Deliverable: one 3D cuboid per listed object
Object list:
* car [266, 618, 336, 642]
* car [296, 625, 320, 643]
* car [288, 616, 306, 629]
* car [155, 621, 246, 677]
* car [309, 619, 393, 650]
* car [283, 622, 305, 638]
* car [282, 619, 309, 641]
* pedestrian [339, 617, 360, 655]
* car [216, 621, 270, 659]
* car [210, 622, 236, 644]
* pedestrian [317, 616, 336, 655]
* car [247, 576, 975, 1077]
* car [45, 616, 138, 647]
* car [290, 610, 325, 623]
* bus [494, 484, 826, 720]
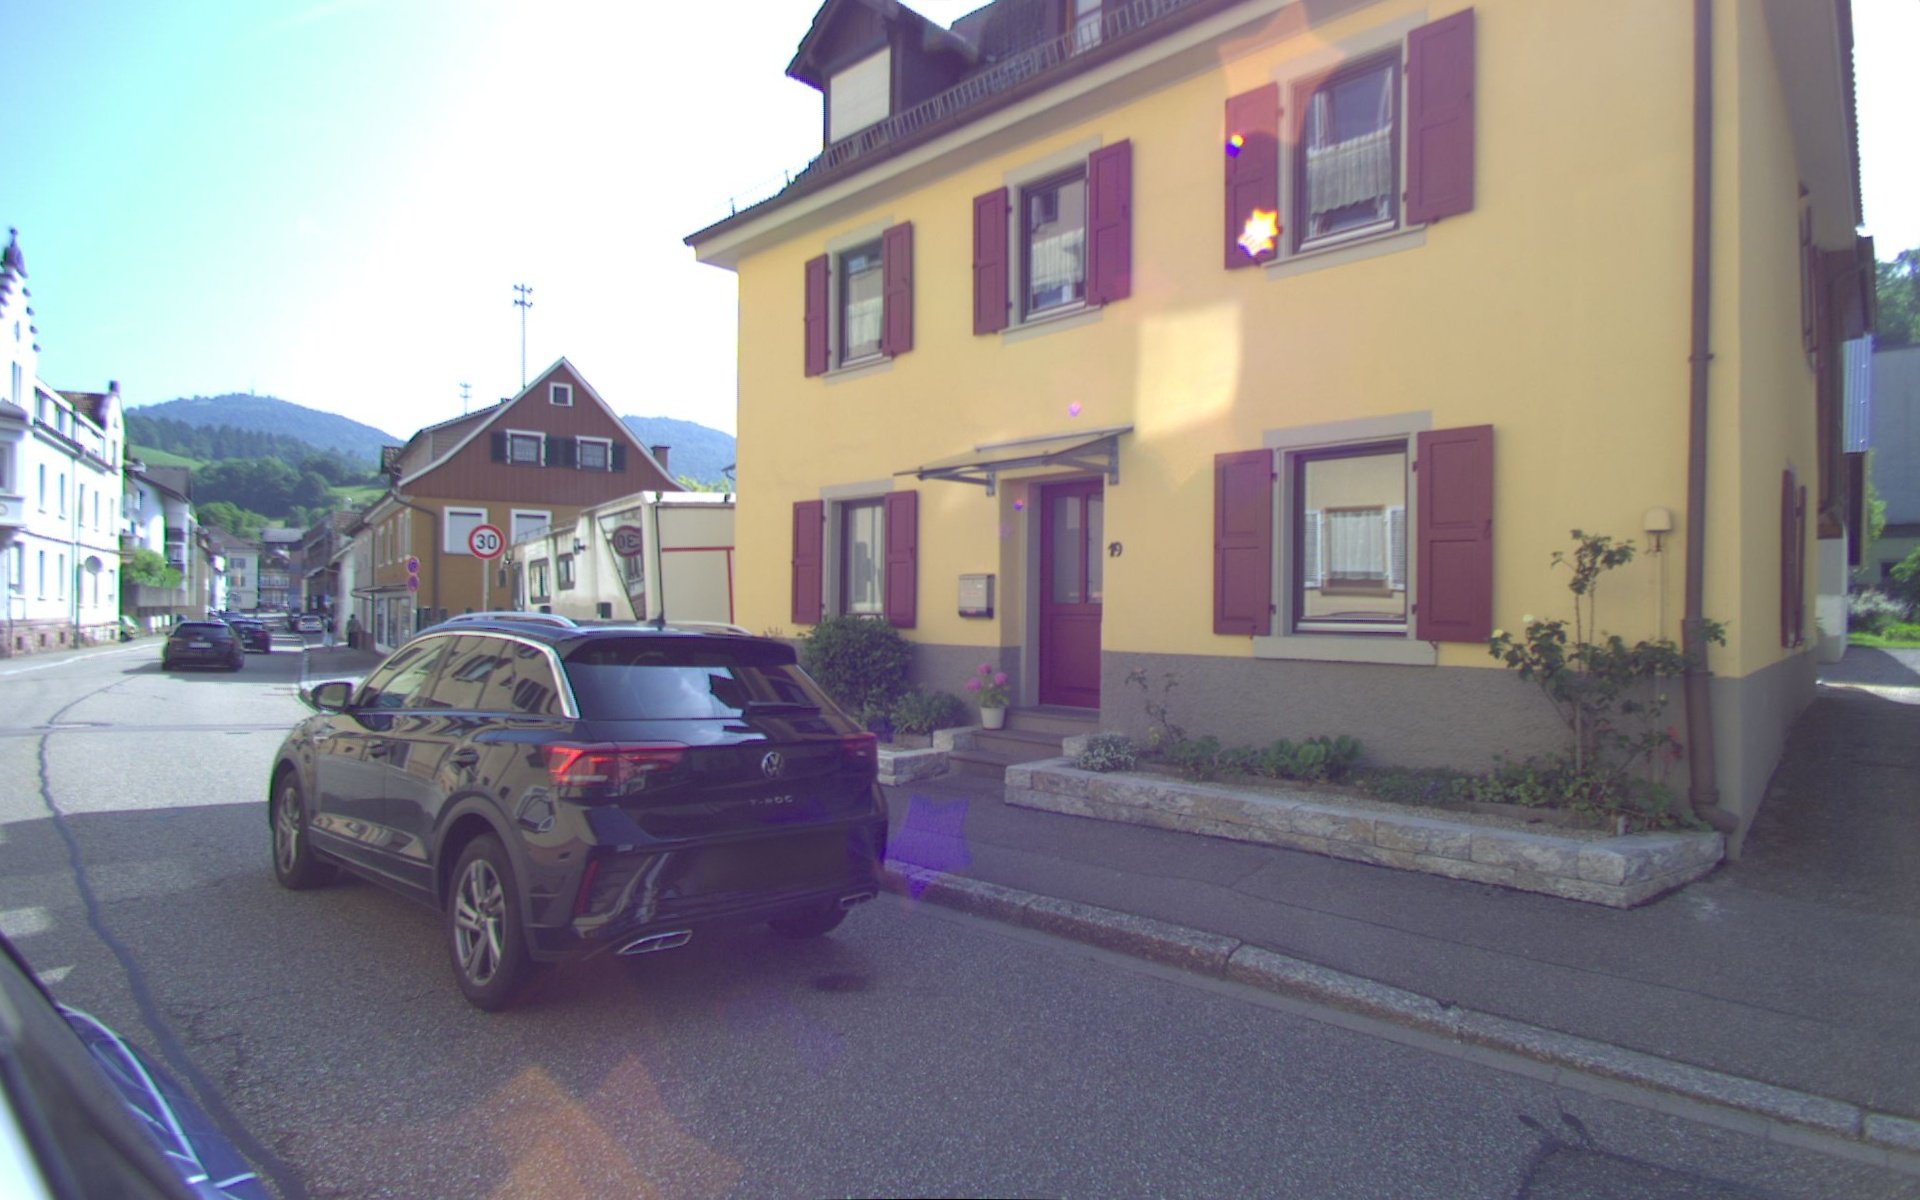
[{"bbox_3d":[-46.450,2.123,71.449,3.930,1.674,1.829,0,-3,-26],"label":"car"},{"bbox_3d":[-54.245,2.821,84.144,1.644,1.443,3.578,-1,-1,-33],"label":"car"},{"bbox_3d":[-87.593,2.904,133.644,1.758,1.587,3.898,-3,1,-35],"label":"car"},{"bbox_3d":[-21.987,1.386,29.435,1.636,1.460,4.271,4,-3,-31],"label":"car"},{"bbox_3d":[-34.725,1.925,57.704,3.934,1.606,1.912,-1,-1,-36],"label":"car"},{"bbox_3d":[-64.887,2.917,98.605,1.652,1.567,3.773,0,-1,-36],"label":"car"},{"bbox_3d":[-57.378,2.548,87.406,1.697,1.810,4.279,1,-1,-36],"label":"car"},{"bbox_3d":[-26.545,1.556,44.008,0.725,1.576,0.827,-2,0,-33],"label":"pedestrian"},{"bbox_3d":[-30.917,1.688,43.605,1.724,1.464,4.037,5,-4,-36],"label":"car"},{"bbox_3d":[-73.880,3.284,101.468,1.968,2.029,4.008,-1,0,-38],"label":"car"},{"bbox_3d":[-27.279,1.534,43.569,0.631,1.638,0.779,-2,0,-32],"label":"pedestrian"},{"bbox_3d":[-2.024,0.821,5.201,4.000,1.549,1.804,-2,-6,43],"label":"car"},{"bbox_3d":[-48.393,1.773,56.478,3.597,1.475,1.606,5,-4,-31],"label":"car"},{"bbox_3d":[-91.447,2.310,141.880,3.939,1.697,1.836,1,-3,-43],"label":"car"},{"bbox_3d":[-5.926,0.055,18.447,2.783,3.252,9.056,-2,0,-37],"label":"bus"}]
